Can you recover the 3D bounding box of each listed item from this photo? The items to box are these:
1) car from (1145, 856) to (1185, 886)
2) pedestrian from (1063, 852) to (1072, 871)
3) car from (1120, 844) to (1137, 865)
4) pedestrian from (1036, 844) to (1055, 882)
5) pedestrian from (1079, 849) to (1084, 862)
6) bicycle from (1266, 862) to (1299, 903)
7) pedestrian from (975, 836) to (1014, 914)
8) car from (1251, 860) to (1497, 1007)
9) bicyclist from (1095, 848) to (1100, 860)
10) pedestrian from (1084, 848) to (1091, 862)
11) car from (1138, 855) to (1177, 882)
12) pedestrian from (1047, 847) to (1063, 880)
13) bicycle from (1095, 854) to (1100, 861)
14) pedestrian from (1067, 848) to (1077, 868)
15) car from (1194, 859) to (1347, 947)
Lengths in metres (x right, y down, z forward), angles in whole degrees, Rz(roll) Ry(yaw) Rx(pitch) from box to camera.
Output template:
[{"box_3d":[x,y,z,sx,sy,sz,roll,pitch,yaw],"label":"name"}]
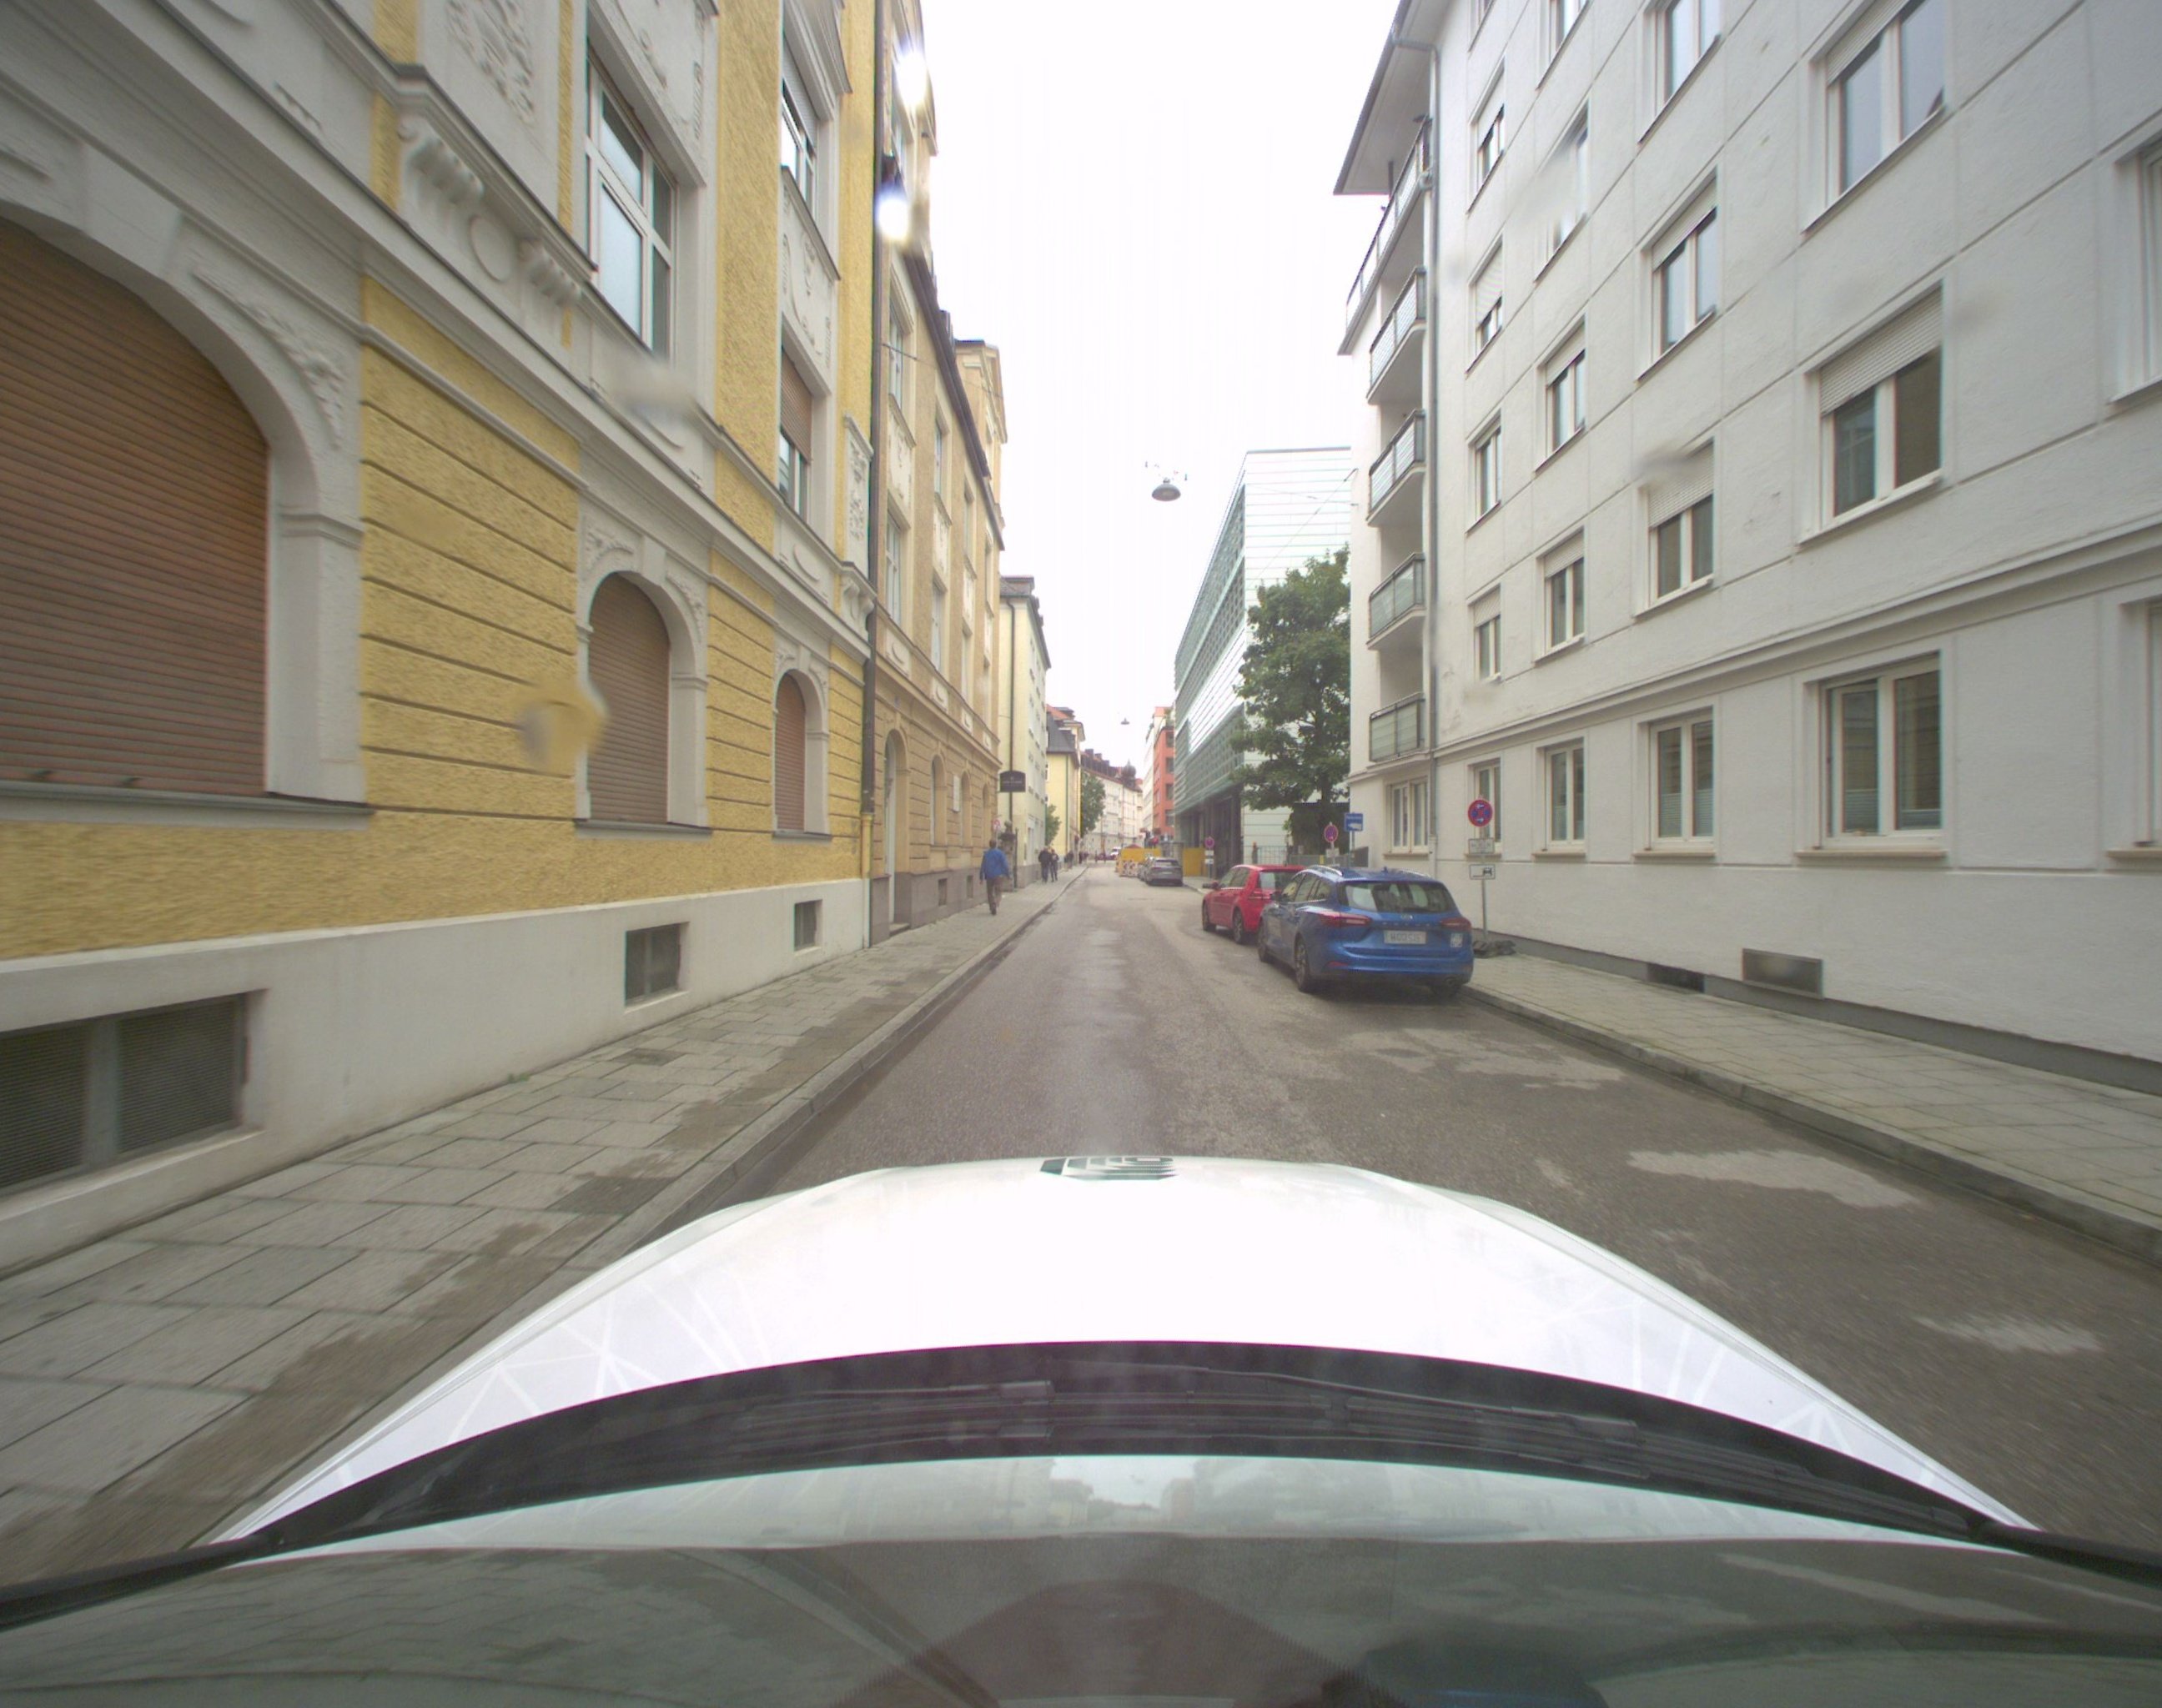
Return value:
[{"box_3d":[4.290,0.832,42.230,1.702,1.432,4.330,0,0,1],"label":"car"},{"box_3d":[-1.157,0.633,70.107,0.645,1.676,0.724,1,0,0],"label":"pedestrian"},{"box_3d":[6.088,0.031,104.810,1.987,2.536,4.975,1,0,1],"label":"car"},{"box_3d":[-1.729,0.422,39.797,0.902,1.827,0.956,1,0,0],"label":"pedestrian"},{"box_3d":[0.042,0.193,103.134,0.668,1.648,0.761,1,0,0],"label":"pedestrian"},{"box_3d":[6.719,0.935,27.184,0.705,1.198,1.835,0,3,2],"label":"bicycle"},{"box_3d":[-2.117,0.511,20.050,0.754,1.854,1.077,2,0,1],"label":"pedestrian"},{"box_3d":[3.475,0.830,10.588,1.787,1.438,4.386,2,0,3],"label":"car"},{"box_3d":[2.324,0.000,112.971,0.657,1.643,0.895,0,0,1],"label":"bicyclist"},{"box_3d":[0.857,0.166,102.912,0.836,1.700,0.803,1,0,1],"label":"pedestrian"},{"box_3d":[4.442,0.817,47.524,1.703,1.467,4.234,2,0,-2],"label":"car"},{"box_3d":[-1.374,0.497,42.811,0.710,1.666,0.930,3,0,1],"label":"pedestrian"},{"box_3d":[2.337,0.483,113.058,0.659,1.039,2.005,0,0,1],"label":"bicycle"},{"box_3d":[-0.805,0.390,76.327,0.865,1.881,1.135,1,0,0],"label":"pedestrian"},{"box_3d":[3.573,0.862,16.198,1.757,1.447,4.292,2,0,-4],"label":"car"}]
